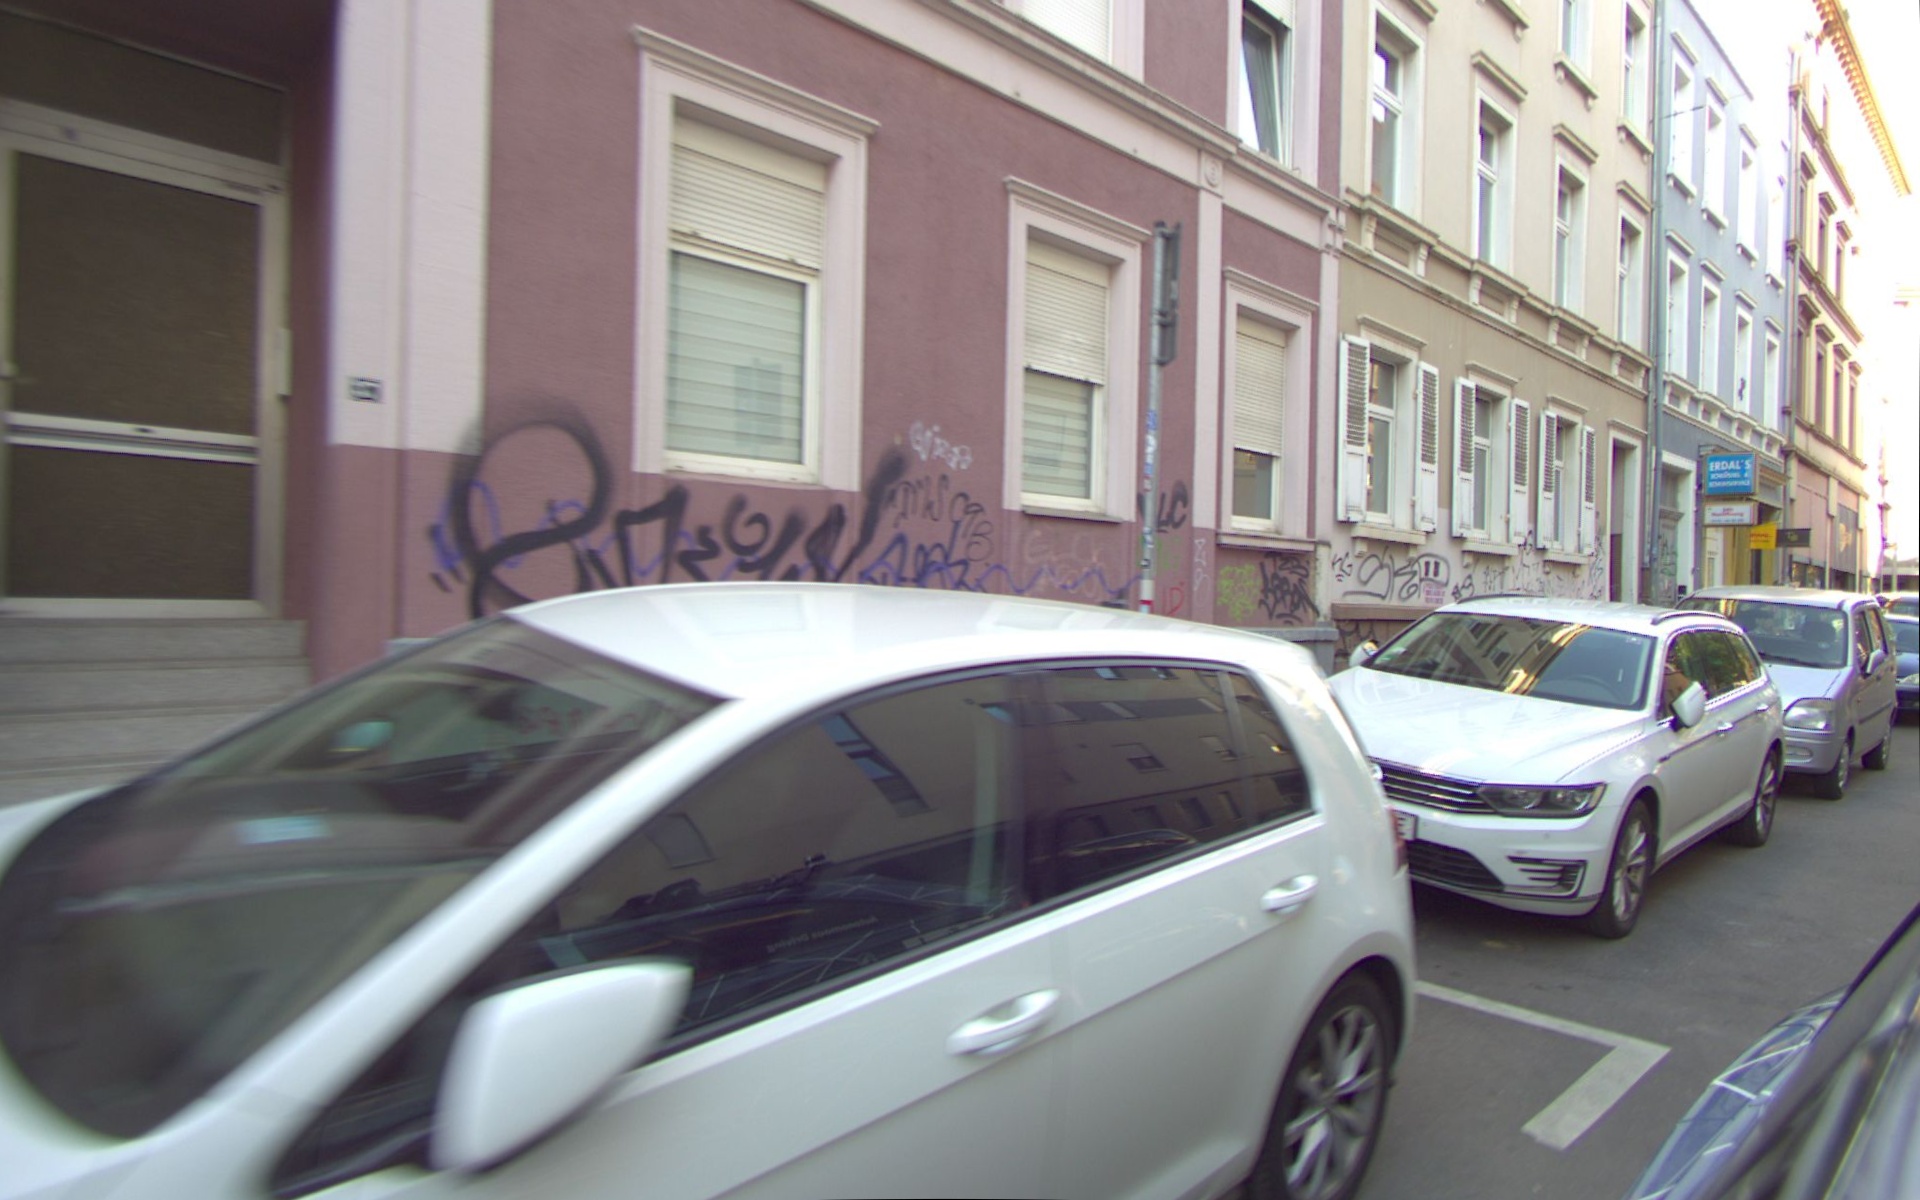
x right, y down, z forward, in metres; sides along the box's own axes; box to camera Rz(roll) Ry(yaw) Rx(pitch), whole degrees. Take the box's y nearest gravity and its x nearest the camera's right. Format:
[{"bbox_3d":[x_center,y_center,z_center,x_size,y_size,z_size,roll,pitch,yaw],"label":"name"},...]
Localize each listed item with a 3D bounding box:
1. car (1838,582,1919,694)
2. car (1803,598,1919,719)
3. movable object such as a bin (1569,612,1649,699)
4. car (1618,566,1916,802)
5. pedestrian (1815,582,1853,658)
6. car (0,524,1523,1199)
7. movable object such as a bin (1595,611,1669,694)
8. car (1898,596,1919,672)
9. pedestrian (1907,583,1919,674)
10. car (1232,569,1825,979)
[{"bbox_3d":[17.113,0.609,17.878,4.240,1.816,1.902,0,0,-42],"label":"car"},{"bbox_3d":[13.297,0.750,14.466,3.552,1.530,1.553,0,0,-44],"label":"car"},{"bbox_3d":[8.864,0.736,13.828,0.549,1.101,0.754,1,2,-41],"label":"movable object such as a bin"},{"bbox_3d":[7.409,0.607,9.184,3.497,1.733,1.559,0,0,-42],"label":"car"},{"bbox_3d":[20.877,0.465,24.191,0.627,1.762,0.650,0,0,36],"label":"pedestrian"},{"bbox_3d":[-0.515,0.680,2.120,3.976,1.562,1.690,0,3,-42],"label":"car"},{"bbox_3d":[9.642,0.733,14.523,0.621,1.101,0.695,1,2,-41],"label":"movable object such as a bin"},{"bbox_3d":[21.755,0.753,21.937,3.254,1.575,1.574,0,4,-39],"label":"car"},{"bbox_3d":[18.822,0.551,19.660,0.422,1.762,0.559,0,0,20],"label":"pedestrian"},{"bbox_3d":[3.701,0.665,6.148,4.549,1.562,1.700,0,3,-42],"label":"car"}]
